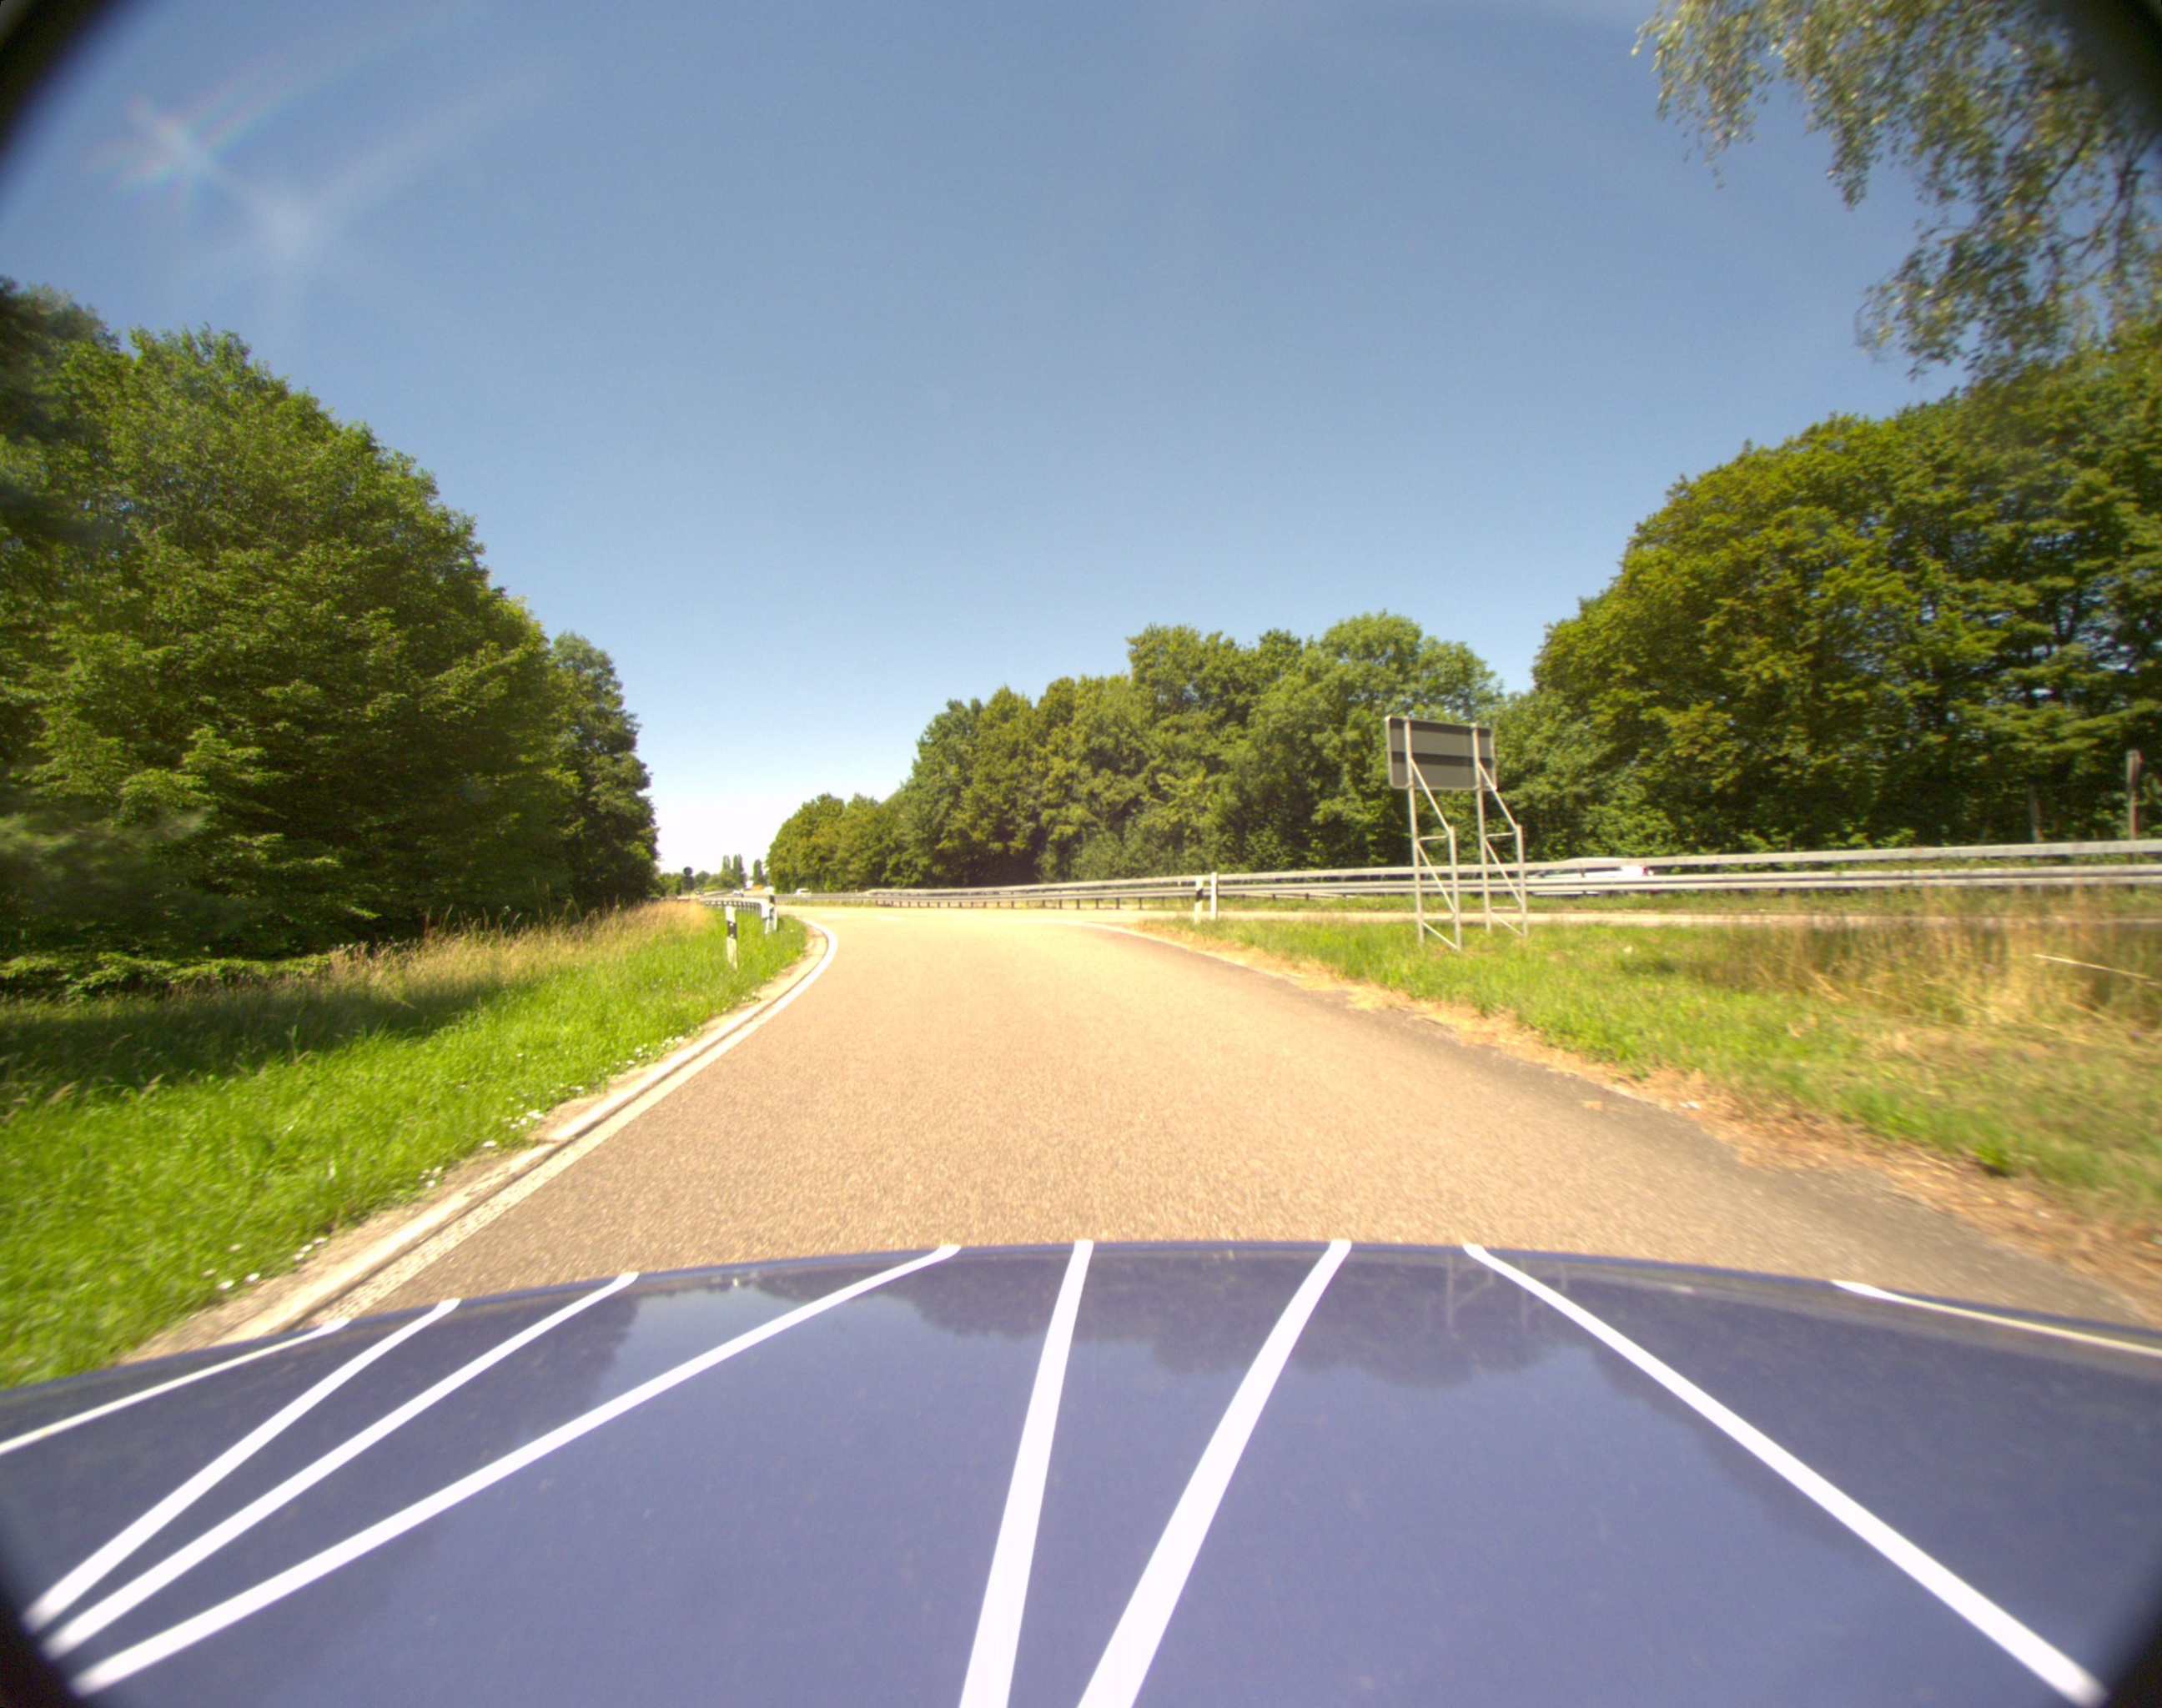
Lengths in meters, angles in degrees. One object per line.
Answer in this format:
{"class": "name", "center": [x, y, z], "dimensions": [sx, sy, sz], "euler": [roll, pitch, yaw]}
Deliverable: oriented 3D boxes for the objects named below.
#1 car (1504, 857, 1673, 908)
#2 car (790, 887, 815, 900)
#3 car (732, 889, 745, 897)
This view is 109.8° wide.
{"class": "car", "center": [14.728, 0.859, 22.222], "dimensions": [1.448, 1.372, 3.839], "euler": [1, -3, -40]}
{"class": "car", "center": [-33.914, 4.811, 92.469], "dimensions": [1.765, 1.563, 4.403], "euler": [0, -3, -36]}
{"class": "car", "center": [-73.936, 8.396, 163.976], "dimensions": [1.765, 1.519, 4.674], "euler": [0, -3, -34]}
